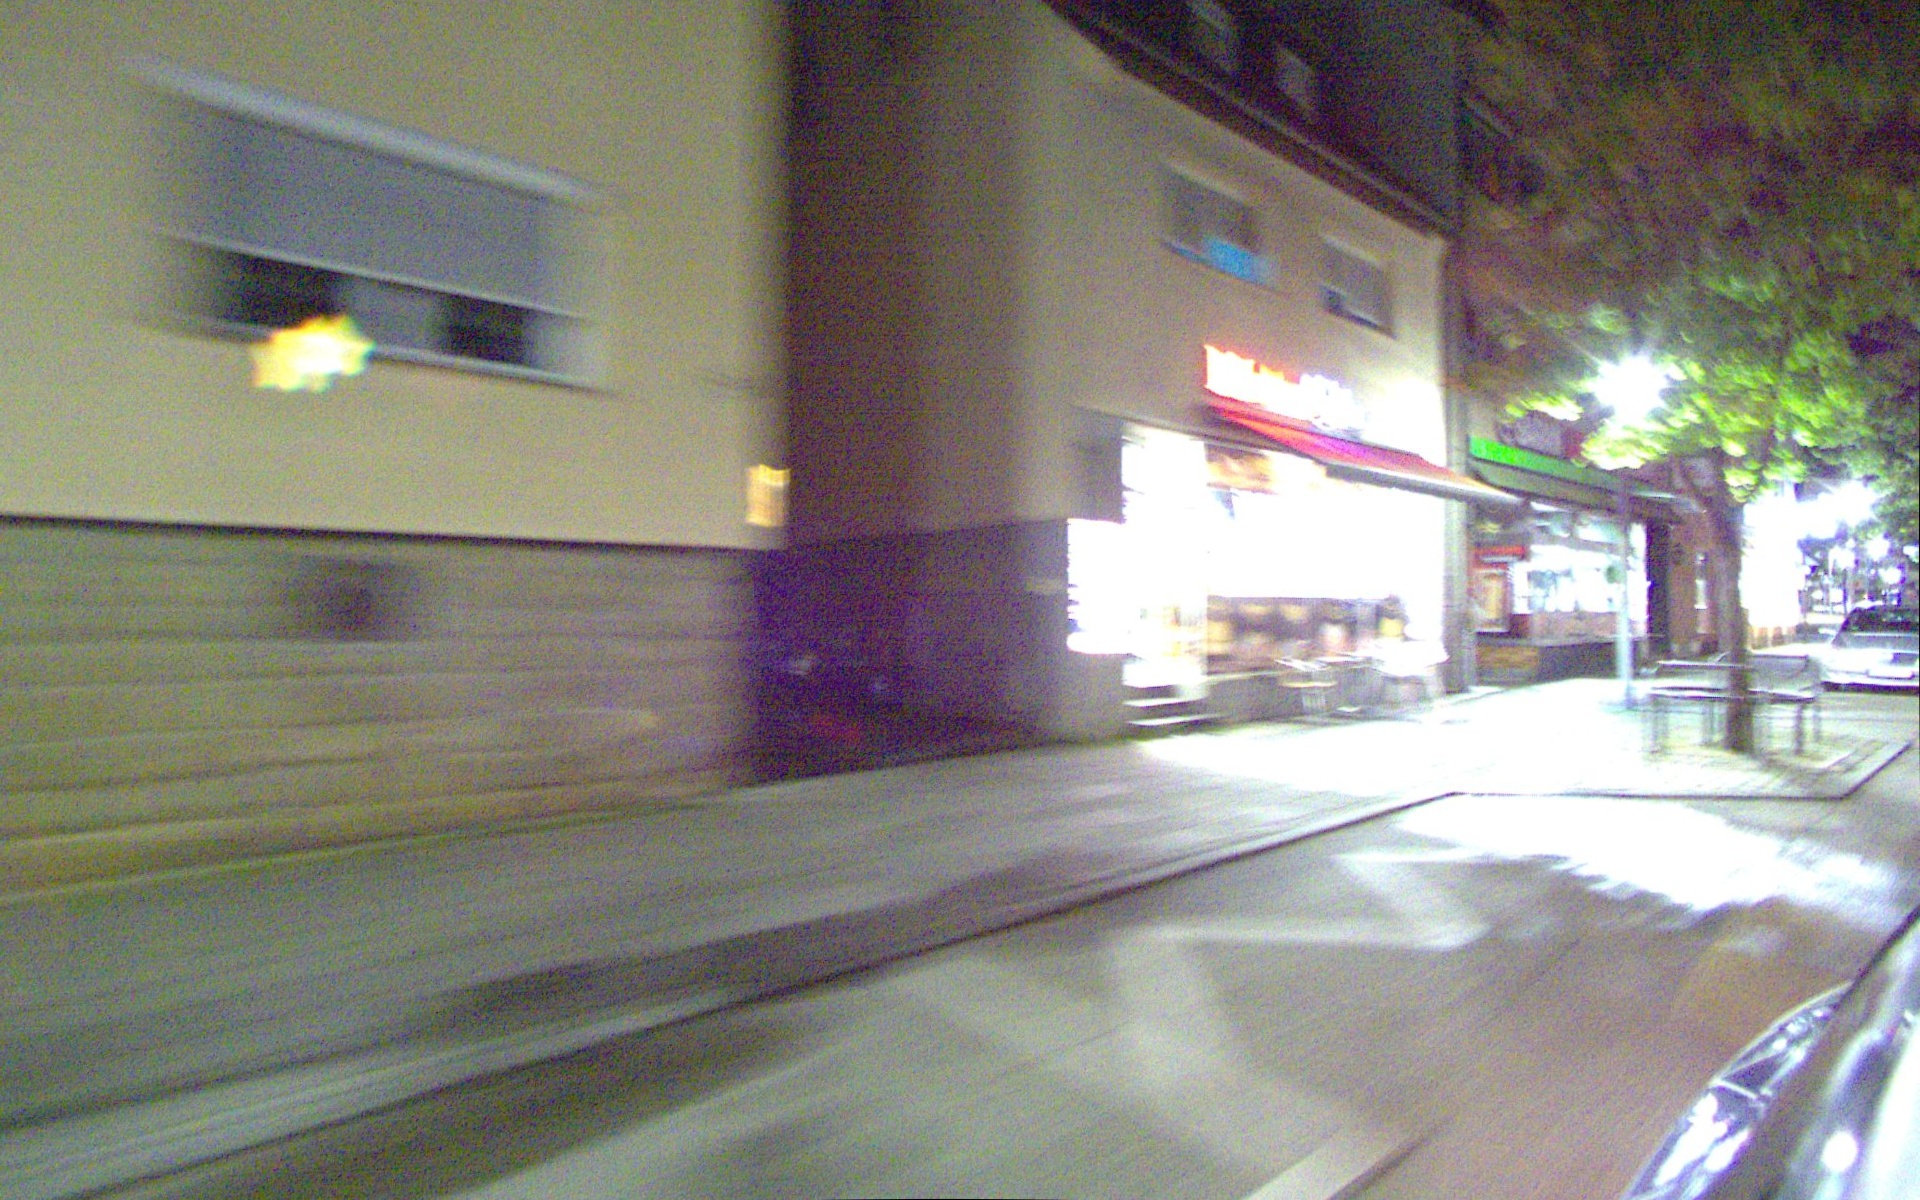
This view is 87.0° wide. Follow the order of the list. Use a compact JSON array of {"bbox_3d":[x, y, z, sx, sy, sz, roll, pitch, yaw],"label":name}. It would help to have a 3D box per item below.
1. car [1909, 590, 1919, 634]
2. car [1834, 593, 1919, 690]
[{"bbox_3d":[36.332,0.404,37.355,1.741,1.506,4.567,0,1,41],"label":"car"},{"bbox_3d":[15.839,0.619,16.827,1.734,1.459,4.424,0,0,44],"label":"car"}]
